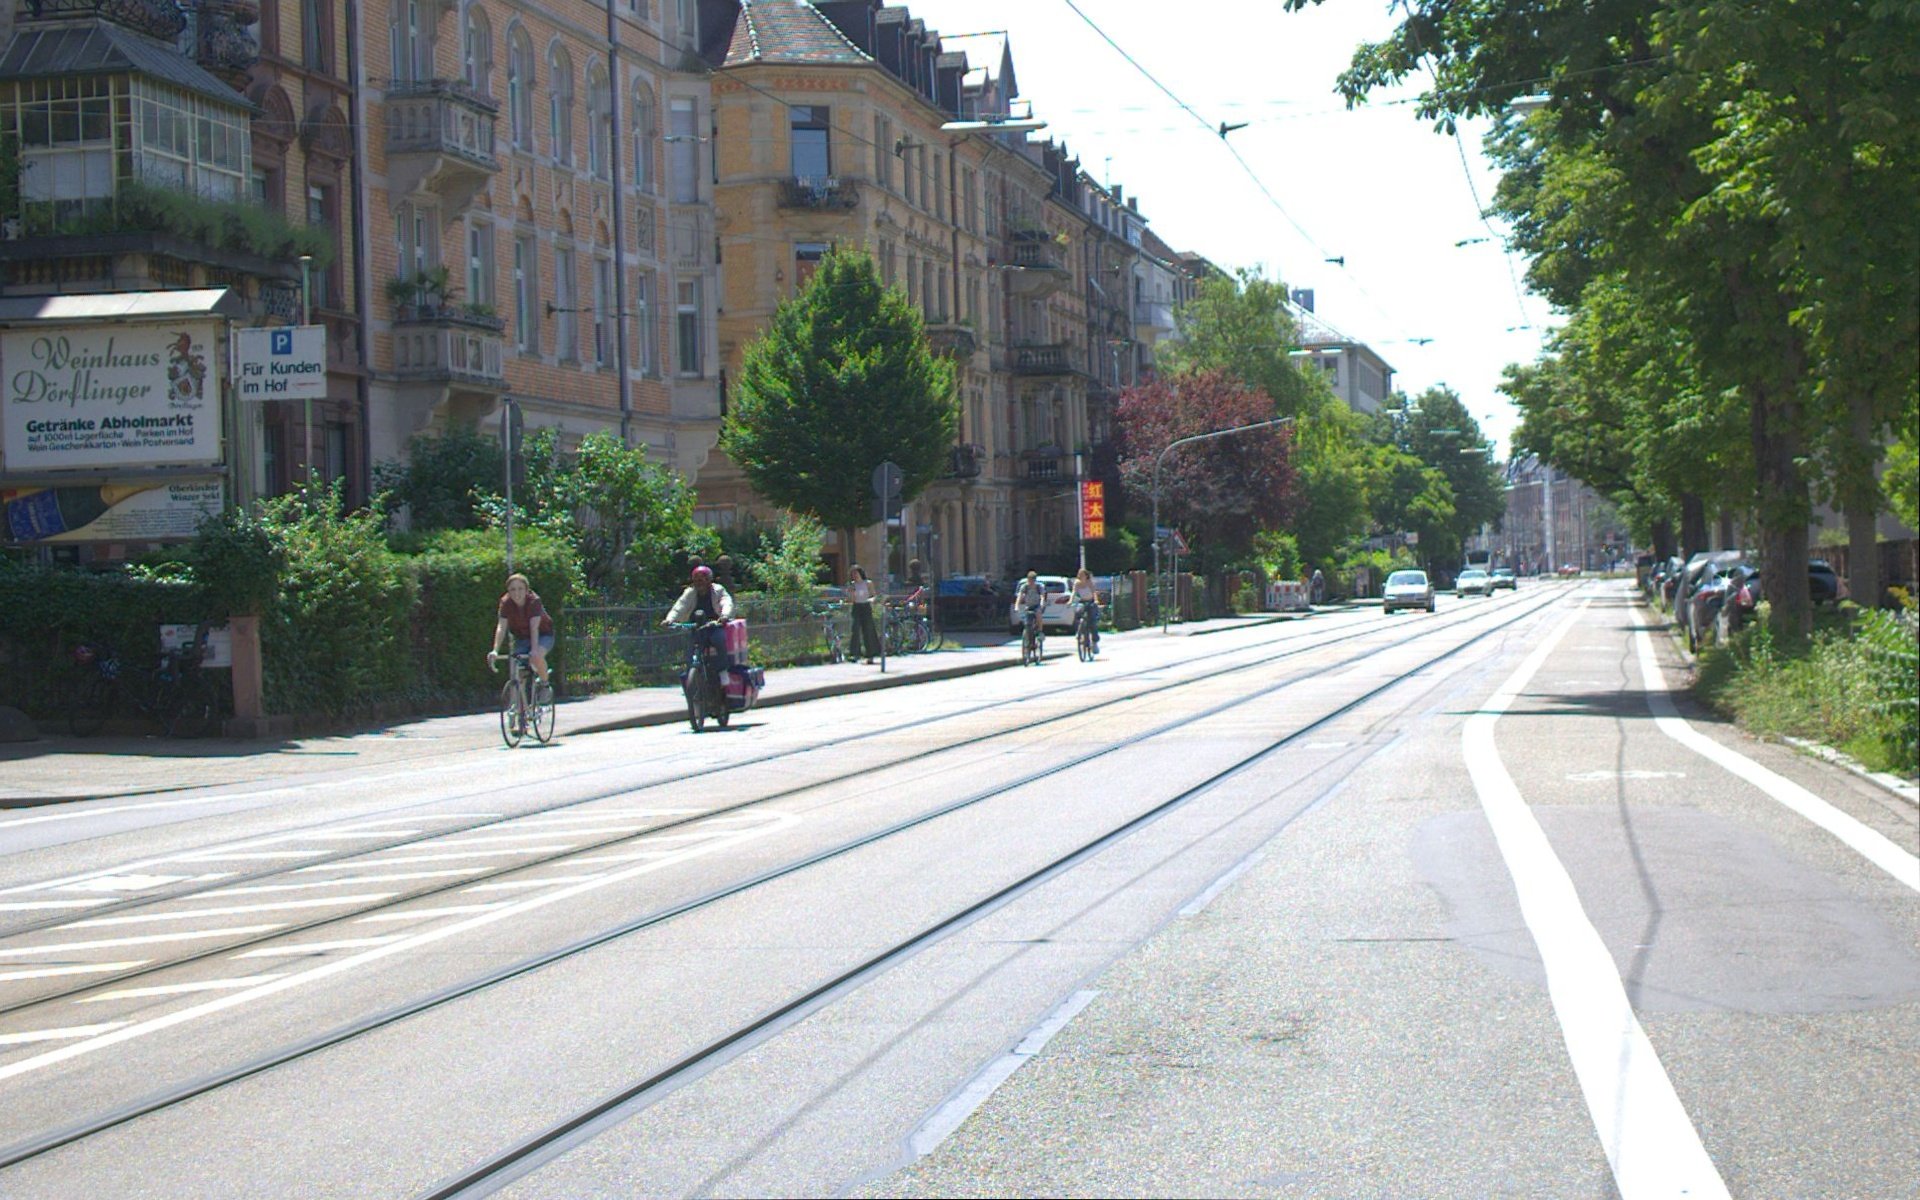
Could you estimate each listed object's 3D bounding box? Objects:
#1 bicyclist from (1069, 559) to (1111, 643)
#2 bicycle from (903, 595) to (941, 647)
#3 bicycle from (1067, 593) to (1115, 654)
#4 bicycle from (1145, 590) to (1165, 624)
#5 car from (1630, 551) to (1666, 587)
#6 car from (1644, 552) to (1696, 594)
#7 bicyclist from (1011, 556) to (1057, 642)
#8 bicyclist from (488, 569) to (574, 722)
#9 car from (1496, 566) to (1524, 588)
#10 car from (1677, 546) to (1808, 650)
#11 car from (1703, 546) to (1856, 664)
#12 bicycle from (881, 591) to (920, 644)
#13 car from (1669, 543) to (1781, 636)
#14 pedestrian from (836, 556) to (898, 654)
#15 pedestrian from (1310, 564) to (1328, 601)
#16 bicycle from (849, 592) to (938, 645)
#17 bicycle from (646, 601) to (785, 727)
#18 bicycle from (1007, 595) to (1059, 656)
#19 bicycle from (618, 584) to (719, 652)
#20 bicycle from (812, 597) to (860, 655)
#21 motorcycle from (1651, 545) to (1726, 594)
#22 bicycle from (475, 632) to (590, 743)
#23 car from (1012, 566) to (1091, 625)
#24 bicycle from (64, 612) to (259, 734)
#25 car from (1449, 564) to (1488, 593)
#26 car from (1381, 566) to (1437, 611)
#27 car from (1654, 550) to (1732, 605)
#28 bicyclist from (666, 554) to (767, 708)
[{"bbox_3d":[2.463,0.016,64.924,0.593,1.539,0.952,-3,0,11],"label":"bicyclist"},{"bbox_3d":[-0.748,0.413,68.371,0.439,0.980,1.710,-1,1,9],"label":"bicycle"},{"bbox_3d":[2.484,0.434,64.908,0.581,1.074,1.890,-3,0,11],"label":"bicycle"},{"bbox_3d":[5.826,0.210,102.838,0.454,1.000,1.806,-1,0,7],"label":"bicycle"},{"bbox_3d":[40.830,-1.857,204.068,1.994,2.028,4.695,-2,1,11],"label":"car"},{"bbox_3d":[27.165,-1.038,131.620,1.774,1.496,4.304,-3,0,10],"label":"car"},{"bbox_3d":[1.403,-0.028,64.898,0.634,1.579,1.028,-3,0,11],"label":"bicyclist"},{"bbox_3d":[-4.343,0.457,34.835,0.563,1.510,0.891,-2,0,11],"label":"bicyclist"},{"bbox_3d":[37.016,-1.564,231.234,1.687,1.449,3.747,-1,0,11],"label":"car"},{"bbox_3d":[12.646,-0.066,55.744,1.733,1.546,4.452,-2,1,9],"label":"car"},{"bbox_3d":[11.238,0.034,47.344,1.657,1.510,3.999,-2,1,8],"label":"car"},{"bbox_3d":[-1.146,0.340,66.369,0.439,0.980,1.710,-1,1,9],"label":"bicycle"},{"bbox_3d":[14.795,-0.225,66.337,1.948,1.645,4.877,-2,1,14],"label":"car"},{"bbox_3d":[-1.659,0.075,61.387,0.852,1.717,1.138,1,1,11],"label":"pedestrian"},{"bbox_3d":[15.658,-0.766,149.921,0.751,1.623,0.833,-1,0,7],"label":"pedestrian"},{"bbox_3d":[-1.355,0.376,69.877,1.706,1.033,0.551,-1,1,16],"label":"bicycle"},{"bbox_3d":[-2.623,0.670,37.242,0.808,1.267,2.549,-2,0,11],"label":"bicycle"},{"bbox_3d":[1.383,0.469,64.653,0.629,1.074,1.874,-3,0,11],"label":"bicycle"},{"bbox_3d":[-4.656,0.281,54.919,1.511,1.040,0.495,-2,0,13],"label":"bicycle"},{"bbox_3d":[-2.206,0.454,61.338,0.496,0.984,1.710,2,1,9],"label":"bicycle"},{"bbox_3d":[23.395,-0.972,110.416,0.867,1.535,2.320,-2,1,-36],"label":"motorcycle"},{"bbox_3d":[-4.323,0.874,34.875,0.568,1.034,1.828,-2,0,11],"label":"bicycle"},{"bbox_3d":[2.529,-0.140,94.260,1.866,1.594,4.101,0,1,6],"label":"car"},{"bbox_3d":[-8.204,0.744,35.349,1.871,1.223,0.568,0,1,8],"label":"bicycle"},{"bbox_3d":[26.657,-1.120,180.256,1.757,1.419,3.998,-2,0,11],"label":"car"},{"bbox_3d":[15.872,-0.419,121.419,1.685,1.444,3.998,-2,1,10],"label":"car"},{"bbox_3d":[20.281,-0.648,95.308,1.769,1.422,4.860,-2,1,8],"label":"car"},{"bbox_3d":[-2.633,0.328,37.244,0.808,1.624,0.980,-2,0,11],"label":"bicyclist"}]
